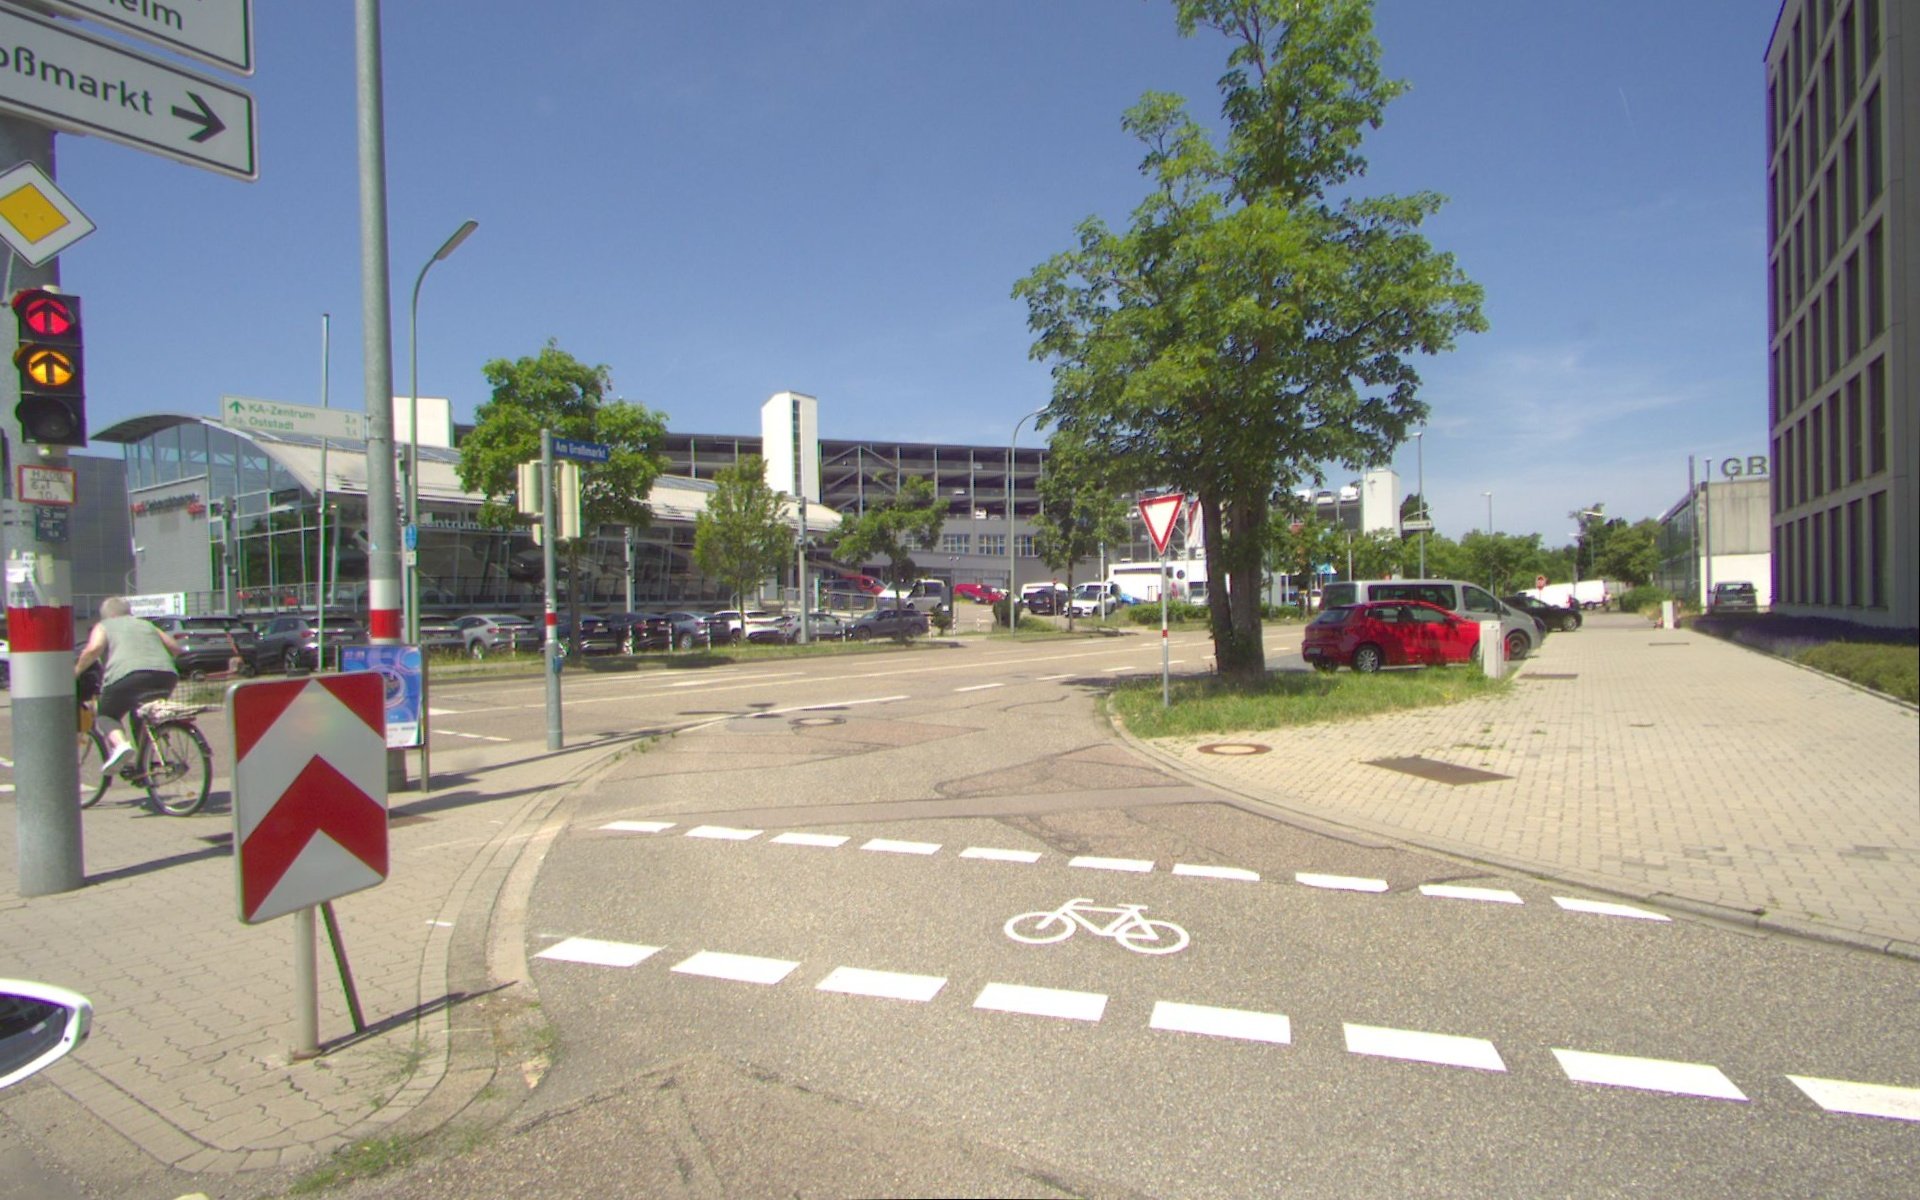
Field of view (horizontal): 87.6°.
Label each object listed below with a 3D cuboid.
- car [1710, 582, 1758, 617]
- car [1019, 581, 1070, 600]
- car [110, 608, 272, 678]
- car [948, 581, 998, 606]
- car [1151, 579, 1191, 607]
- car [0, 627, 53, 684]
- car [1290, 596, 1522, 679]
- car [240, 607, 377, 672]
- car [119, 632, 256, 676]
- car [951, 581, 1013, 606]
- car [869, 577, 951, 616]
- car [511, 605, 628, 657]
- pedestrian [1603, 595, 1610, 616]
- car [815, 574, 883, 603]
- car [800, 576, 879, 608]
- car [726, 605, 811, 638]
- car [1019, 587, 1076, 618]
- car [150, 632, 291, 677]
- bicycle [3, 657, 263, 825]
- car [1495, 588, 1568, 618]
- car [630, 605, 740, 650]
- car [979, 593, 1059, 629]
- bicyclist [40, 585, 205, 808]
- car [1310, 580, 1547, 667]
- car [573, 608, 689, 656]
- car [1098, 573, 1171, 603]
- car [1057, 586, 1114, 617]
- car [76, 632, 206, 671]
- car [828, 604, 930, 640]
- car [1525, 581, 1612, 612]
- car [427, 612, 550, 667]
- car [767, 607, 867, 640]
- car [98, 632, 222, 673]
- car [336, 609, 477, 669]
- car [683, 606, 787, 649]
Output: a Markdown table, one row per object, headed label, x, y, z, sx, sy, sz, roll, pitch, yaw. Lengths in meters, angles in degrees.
| label | x | y | z | sx | sy | sz | roll | pitch | yaw |
| --- | --- | --- | --- | --- | --- | --- | --- | --- | --- |
| car | 42.123 | 0.011 | 54.548 | 1.772 | 1.750 | 3.978 | -1 | -2 | 34 |
| car | 7.767 | -0.853 | 92.307 | 4.294 | 1.674 | 1.904 | -1 | 0 | 31 |
| car | -19.513 | 1.109 | 25.367 | 4.442 | 1.578 | 1.863 | -3 | 0 | 33 |
| car | 0.990 | -0.449 | 74.537 | 1.859 | 1.728 | 3.977 | -1 | -1 | 33 |
| car | 16.402 | -0.514 | 77.687 | 1.812 | 2.039 | 3.981 | -1 | -2 | 31 |
| car | -25.145 | 1.352 | 24.120 | 1.843 | 1.407 | 4.583 | -2 | -3 | 34 |
| car | 8.930 | 0.729 | 20.192 | 3.923 | 1.451 | 1.699 | -2 | -1 | -7 |
| car | -17.947 | 1.099 | 27.539 | 3.946 | 1.675 | 1.840 | -2 | -3 | 35 |
| car | -30.542 | 2.126 | 39.716 | 1.633 | 1.642 | 3.980 | -1 | -3 | 32 |
| car | 1.718 | -0.495 | 77.980 | 4.525 | 1.821 | 1.903 | -1 | 0 | 34 |
| car | -2.622 | -0.161 | 54.061 | 1.885 | 1.992 | 5.228 | -1 | 0 | 29 |
| car | -13.359 | 1.068 | 34.224 | 3.851 | 1.676 | 1.627 | -1 | -1 | 28 |
| pedestrian | 48.238 | 0.416 | 74.720 | 0.399 | 1.580 | 0.546 | -1 | 1 | 33 |
| car | -7.349 | -0.736 | 66.109 | 4.082 | 1.745 | 1.907 | -1 | 0 | 25 |
| car | -6.762 | -0.428 | 56.608 | 1.888 | 1.730 | 4.560 | -1 | 0 | 35 |
| car | -9.858 | 1.082 | 51.636 | 3.938 | 1.591 | 1.842 | -1 | 0 | -28 |
| car | 5.406 | 0.182 | 61.281 | 1.970 | 1.727 | 3.983 | -1 | -2 | 30 |
| car | -28.341 | 2.088 | 38.478 | 1.824 | 1.618 | 3.980 | -1 | -3 | 32 |
| bicycle | -6.358 | 1.033 | 7.702 | 1.861 | 1.148 | 0.629 | 0 | 0 | 18 |
| car | 41.497 | 0.258 | 72.697 | 4.513 | 2.039 | 1.990 | -1 | -2 | 33 |
| car | -10.710 | 1.118 | 38.946 | 3.937 | 1.675 | 1.844 | -1 | -3 | 28 |
| car | 3.004 | 0.552 | 50.291 | 1.888 | 1.717 | 4.560 | -1 | 0 | 35 |
| bicyclist | -6.445 | 0.718 | 7.728 | 0.811 | 1.626 | 0.629 | -1 | -1 | 17 |
| car | 10.886 | 0.514 | 23.358 | 4.841 | 1.911 | 1.918 | 0 | 0 | -12 |
| car | -12.066 | 1.193 | 36.686 | 3.937 | 1.675 | 1.844 | -1 | -3 | 28 |
| car | 11.992 | -0.781 | 68.834 | 4.521 | 1.912 | 1.904 | -1 | 0 | 31 |
| car | 7.560 | 0.132 | 60.039 | 1.970 | 1.727 | 3.983 | -1 | -2 | 30 |
| car | -34.751 | 2.173 | 42.567 | 1.610 | 1.593 | 3.977 | -1 | -3 | 32 |
| car | -3.834 | 1.013 | 47.673 | 4.554 | 1.491 | 1.839 | -2 | 1 | -34 |
| car | 54.886 | -0.255 | 90.347 | 6.606 | 2.552 | 2.206 | -1 | -2 | 35 |
| car | -14.998 | 1.203 | 31.829 | 3.758 | 1.637 | 1.635 | 0 | 0 | 28 |
| car | -7.086 | 1.159 | 49.674 | 4.527 | 1.491 | 1.902 | -1 | 0 | -34 |
| car | -32.674 | 2.130 | 40.979 | 1.619 | 1.600 | 3.642 | -1 | -3 | 32 |
| car | -16.548 | 1.178 | 29.935 | 3.937 | 1.675 | 1.844 | -1 | -3 | 28 |
| car | -9.264 | 1.169 | 41.178 | 3.937 | 1.675 | 1.844 | -1 | -3 | 28 |
